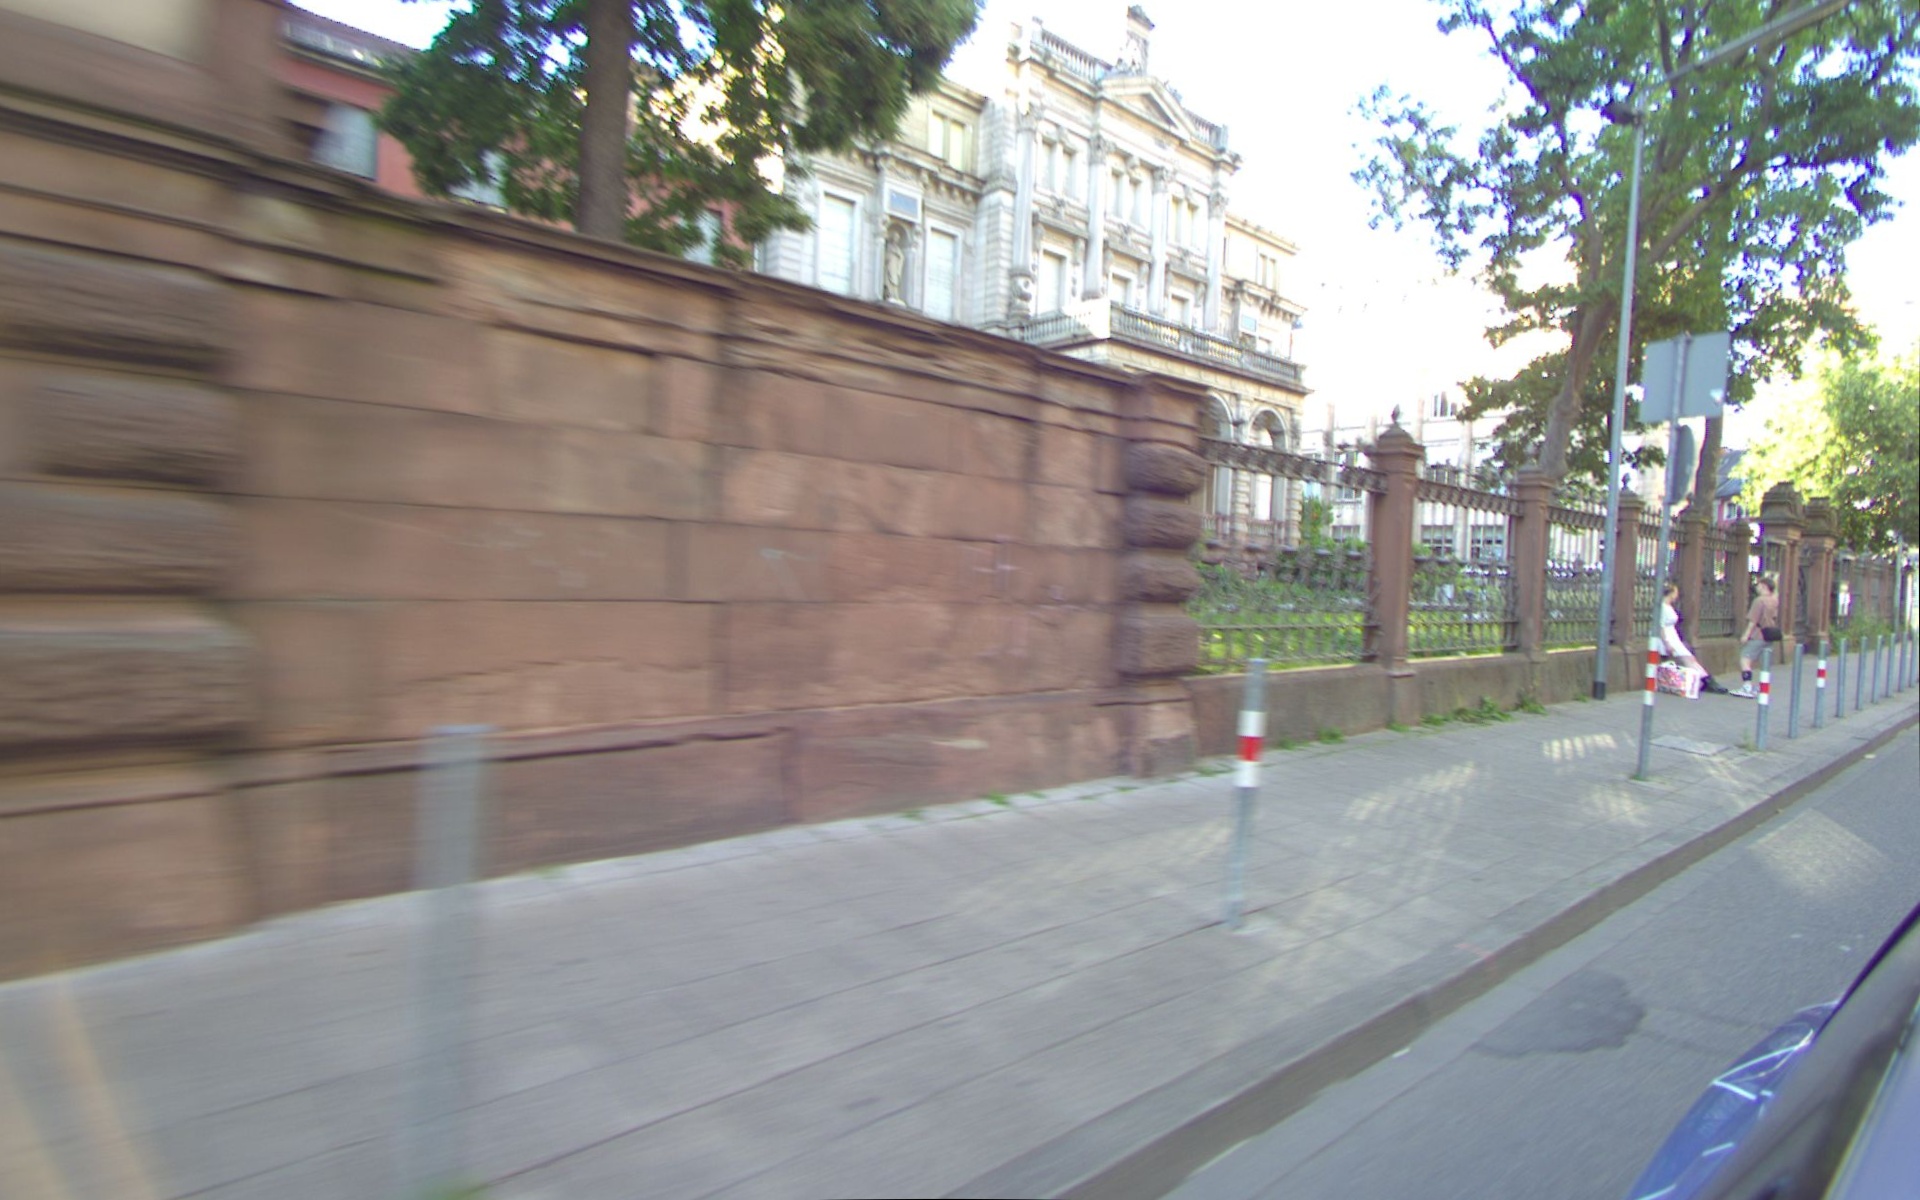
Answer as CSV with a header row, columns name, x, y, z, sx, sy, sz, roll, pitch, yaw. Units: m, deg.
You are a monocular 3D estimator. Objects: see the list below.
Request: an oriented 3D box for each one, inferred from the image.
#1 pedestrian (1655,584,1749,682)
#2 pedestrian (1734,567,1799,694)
name,x,y,z,sx,sy,sz,roll,pitch,yaw
pedestrian,10.314,0.438,14.085,0.356,1.264,0.927,0,4,-43
pedestrian,10.937,0.404,13.727,0.546,1.666,0.439,1,3,-34
